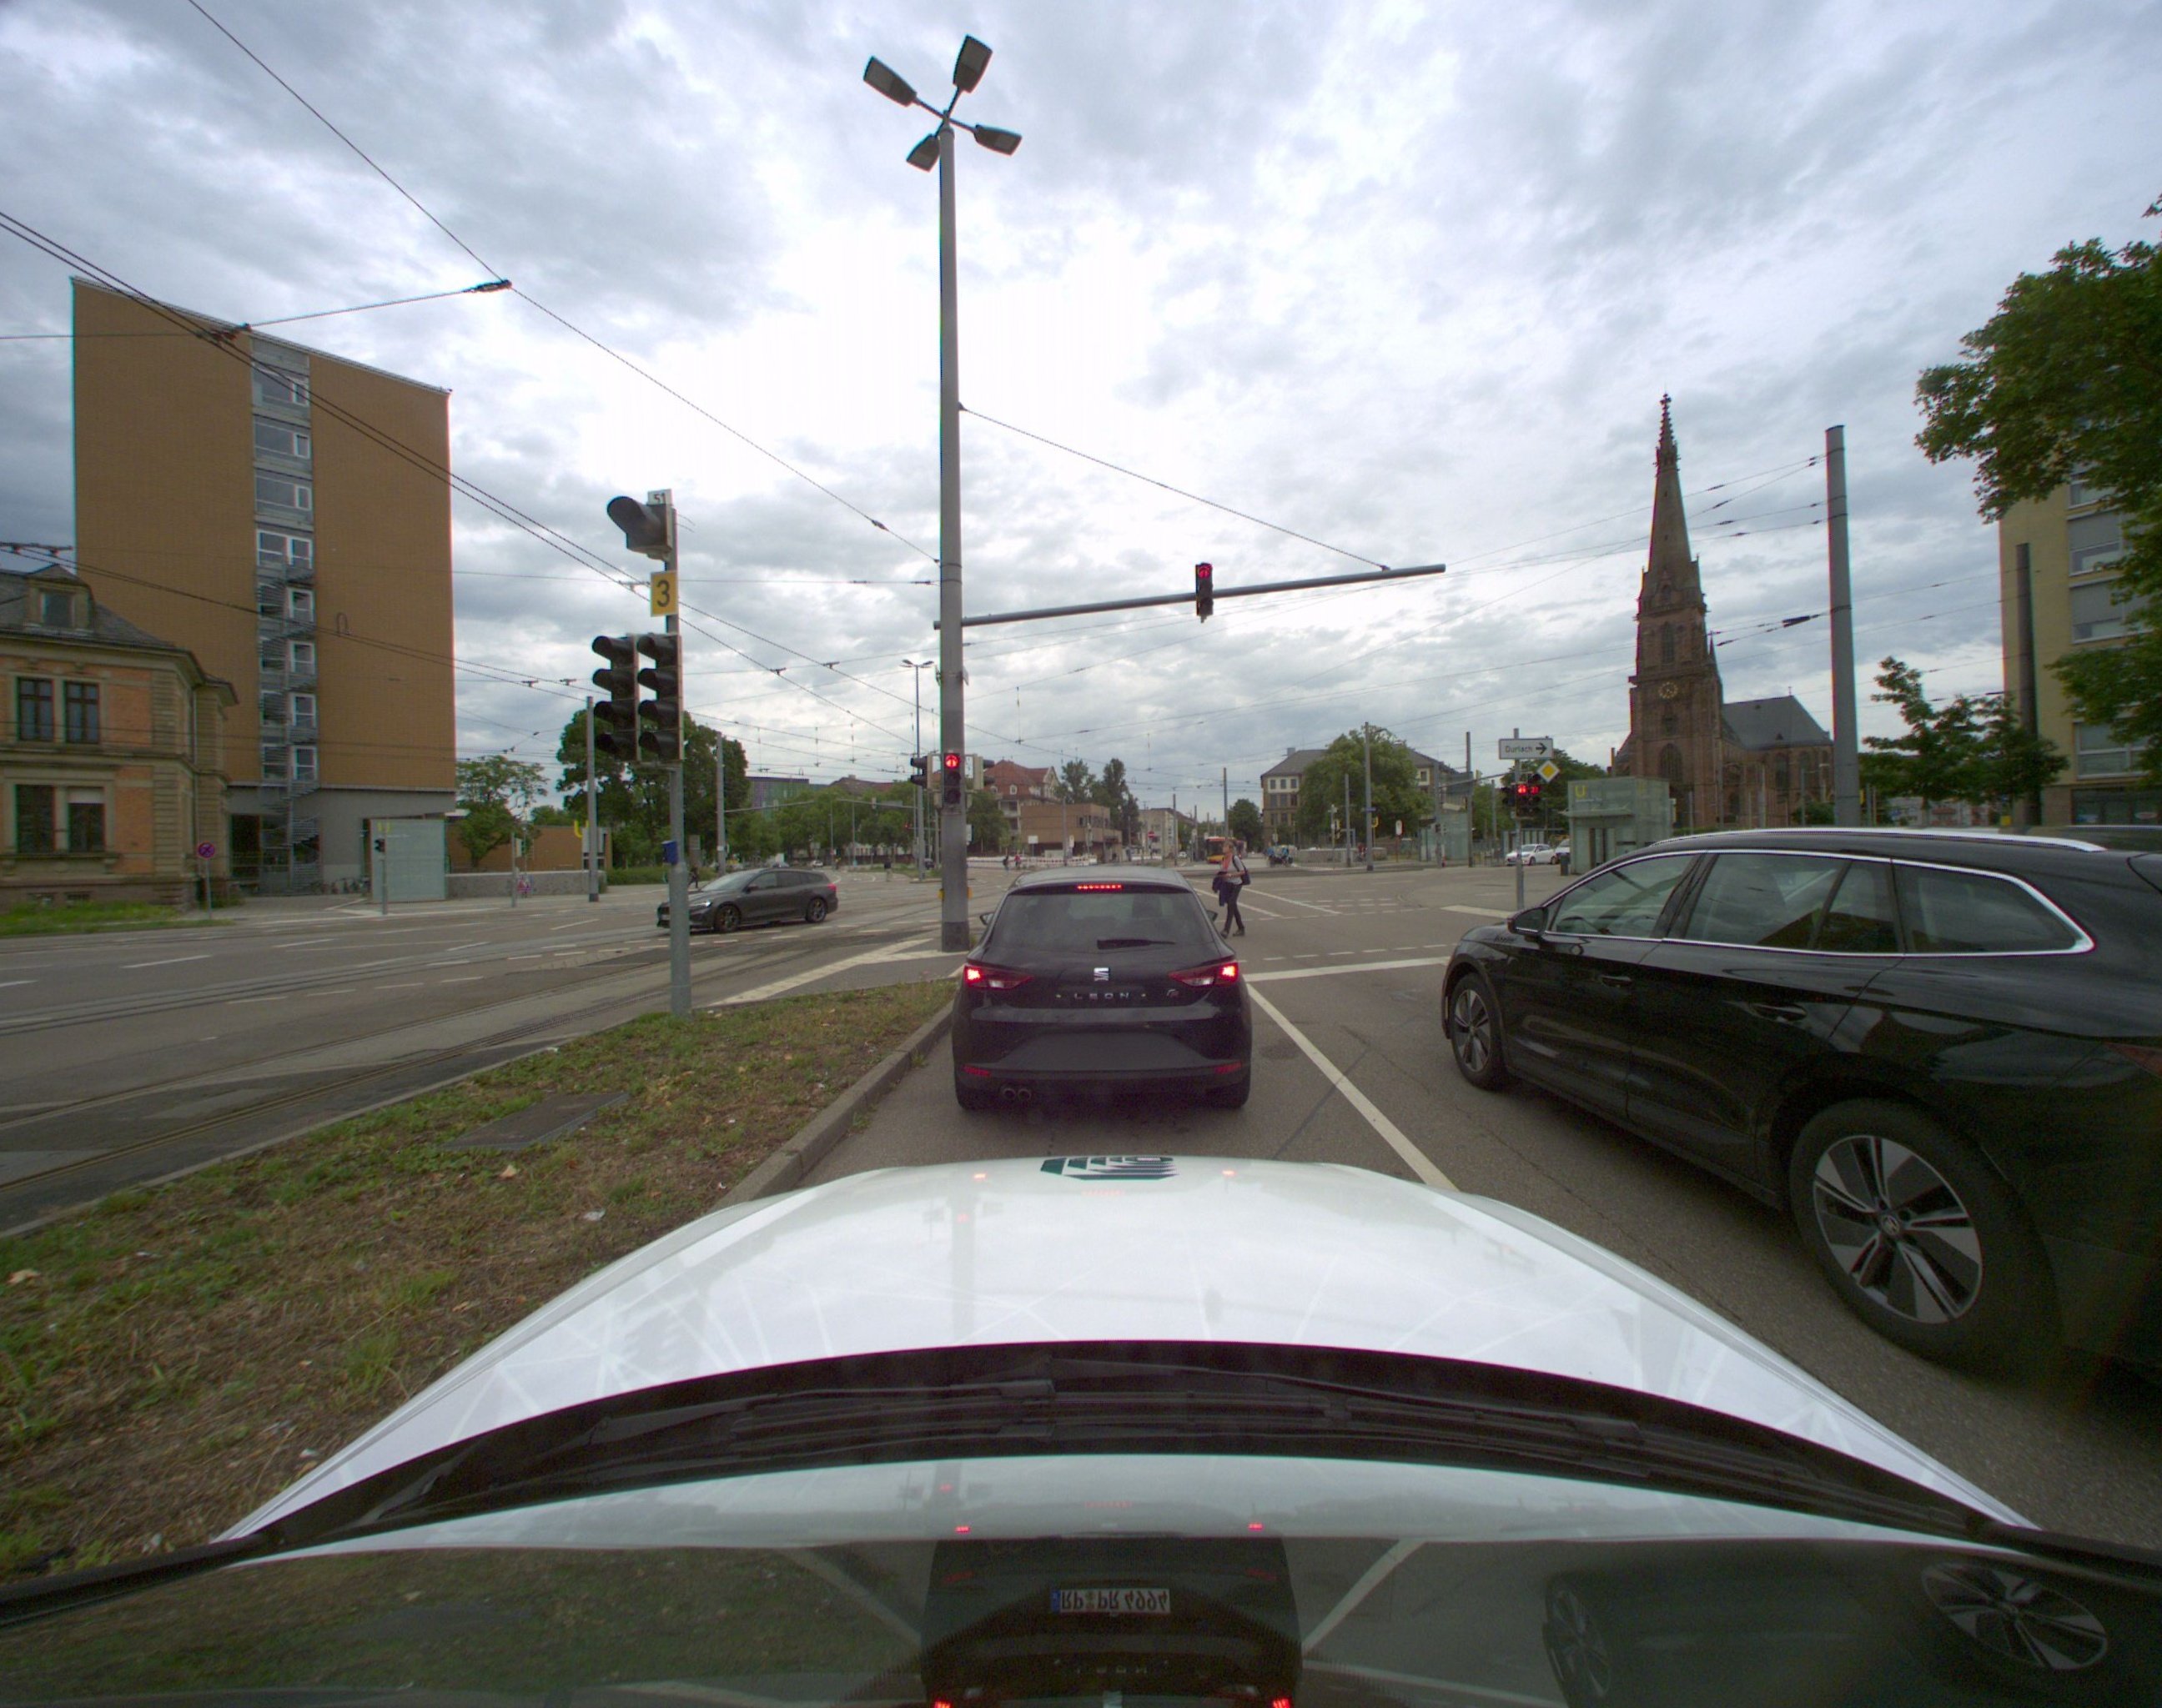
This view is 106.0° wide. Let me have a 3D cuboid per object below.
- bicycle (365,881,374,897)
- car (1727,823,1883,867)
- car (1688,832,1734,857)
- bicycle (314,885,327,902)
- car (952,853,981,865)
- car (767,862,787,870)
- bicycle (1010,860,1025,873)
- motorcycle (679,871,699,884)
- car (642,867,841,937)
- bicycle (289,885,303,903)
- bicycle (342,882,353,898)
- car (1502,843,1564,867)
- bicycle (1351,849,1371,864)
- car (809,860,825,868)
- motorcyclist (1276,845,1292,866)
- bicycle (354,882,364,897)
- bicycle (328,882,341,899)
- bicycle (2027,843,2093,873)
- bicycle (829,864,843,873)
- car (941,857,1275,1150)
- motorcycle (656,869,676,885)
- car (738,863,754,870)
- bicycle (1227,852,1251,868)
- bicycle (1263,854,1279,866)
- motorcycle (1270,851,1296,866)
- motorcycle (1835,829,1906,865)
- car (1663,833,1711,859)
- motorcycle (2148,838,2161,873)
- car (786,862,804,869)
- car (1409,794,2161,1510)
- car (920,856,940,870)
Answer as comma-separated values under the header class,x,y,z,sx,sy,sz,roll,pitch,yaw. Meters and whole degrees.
class,x,y,z,sx,sy,sz,roll,pitch,yaw
bicycle,-49.848,2.449,57.058,0.484,1.049,1.411,-1,0,-41
car,37.617,-0.443,42.522,5.672,2.014,2.038,-2,-1,19
car,53.562,-0.776,69.180,4.017,2.013,1.978,-1,0,-36
bicycle,-51.650,2.653,55.347,0.575,1.106,1.411,-1,0,-41
car,-17.382,0.714,123.646,3.970,1.684,2.001,-2,-1,3
car,-54.024,2.164,144.679,1.792,1.464,3.950,-1,0,-45
bicycle,-6.199,1.220,79.842,0.895,1.178,2.287,-1,0,-20
motorcycle,-34.428,2.039,71.491,0.506,1.111,1.751,-1,0,15
car,-8.207,1.100,20.130,1.677,1.396,4.420,-2,0,29
bicycle,-52.547,2.665,54.536,0.575,1.106,1.411,-1,0,-41
bicycle,-50.662,2.503,56.268,0.512,1.049,1.411,-1,0,-41
car,30.414,0.068,54.809,4.011,1.464,1.758,-1,-2,-30
bicycle,23.610,0.231,68.616,2.044,1.184,0.768,-1,0,-44
car,-50.855,1.964,156.659,1.790,1.464,3.956,-1,0,-36
motorcyclist,16.469,0.118,66.182,0.984,1.649,0.742,-1,-1,-31
bicycle,-50.249,2.473,56.707,0.484,1.049,1.411,-1,0,-41
bicycle,-51.166,2.513,55.823,0.575,1.106,1.411,-1,0,-41
bicycle,31.502,0.127,26.219,0.596,0.917,1.253,-1,0,-28
bicycle,-34.722,2.048,115.526,0.429,1.236,1.838,-3,-2,45
car,0.084,0.768,6.106,1.700,1.449,3.809,-1,0,-2
motorcycle,-35.456,1.956,69.586,1.481,1.268,0.505,-1,0,-44
car,-73.839,2.794,179.385,3.949,1.464,1.792,-1,0,43
bicycle,12.842,0.489,66.217,1.728,1.321,0.644,-1,0,-6
bicycle,17.730,0.516,76.030,0.863,1.104,2.299,-1,0,-3
motorcycle,16.390,0.371,66.128,2.149,1.139,0.737,-1,0,-31
motorcycle,26.946,-0.230,27.798,2.386,1.168,0.762,-1,0,-19
car,49.700,-0.683,66.742,4.017,2.013,1.978,-1,0,-36
motorcycle,31.705,0.026,23.585,1.020,0.997,0.863,-1,0,-43
car,-57.903,2.362,164.860,1.792,1.464,3.950,-1,0,-45
car,3.308,0.646,3.797,1.771,1.597,4.510,-1,0,1
car,-19.581,1.223,105.408,2.000,1.684,3.973,-1,-1,-20
